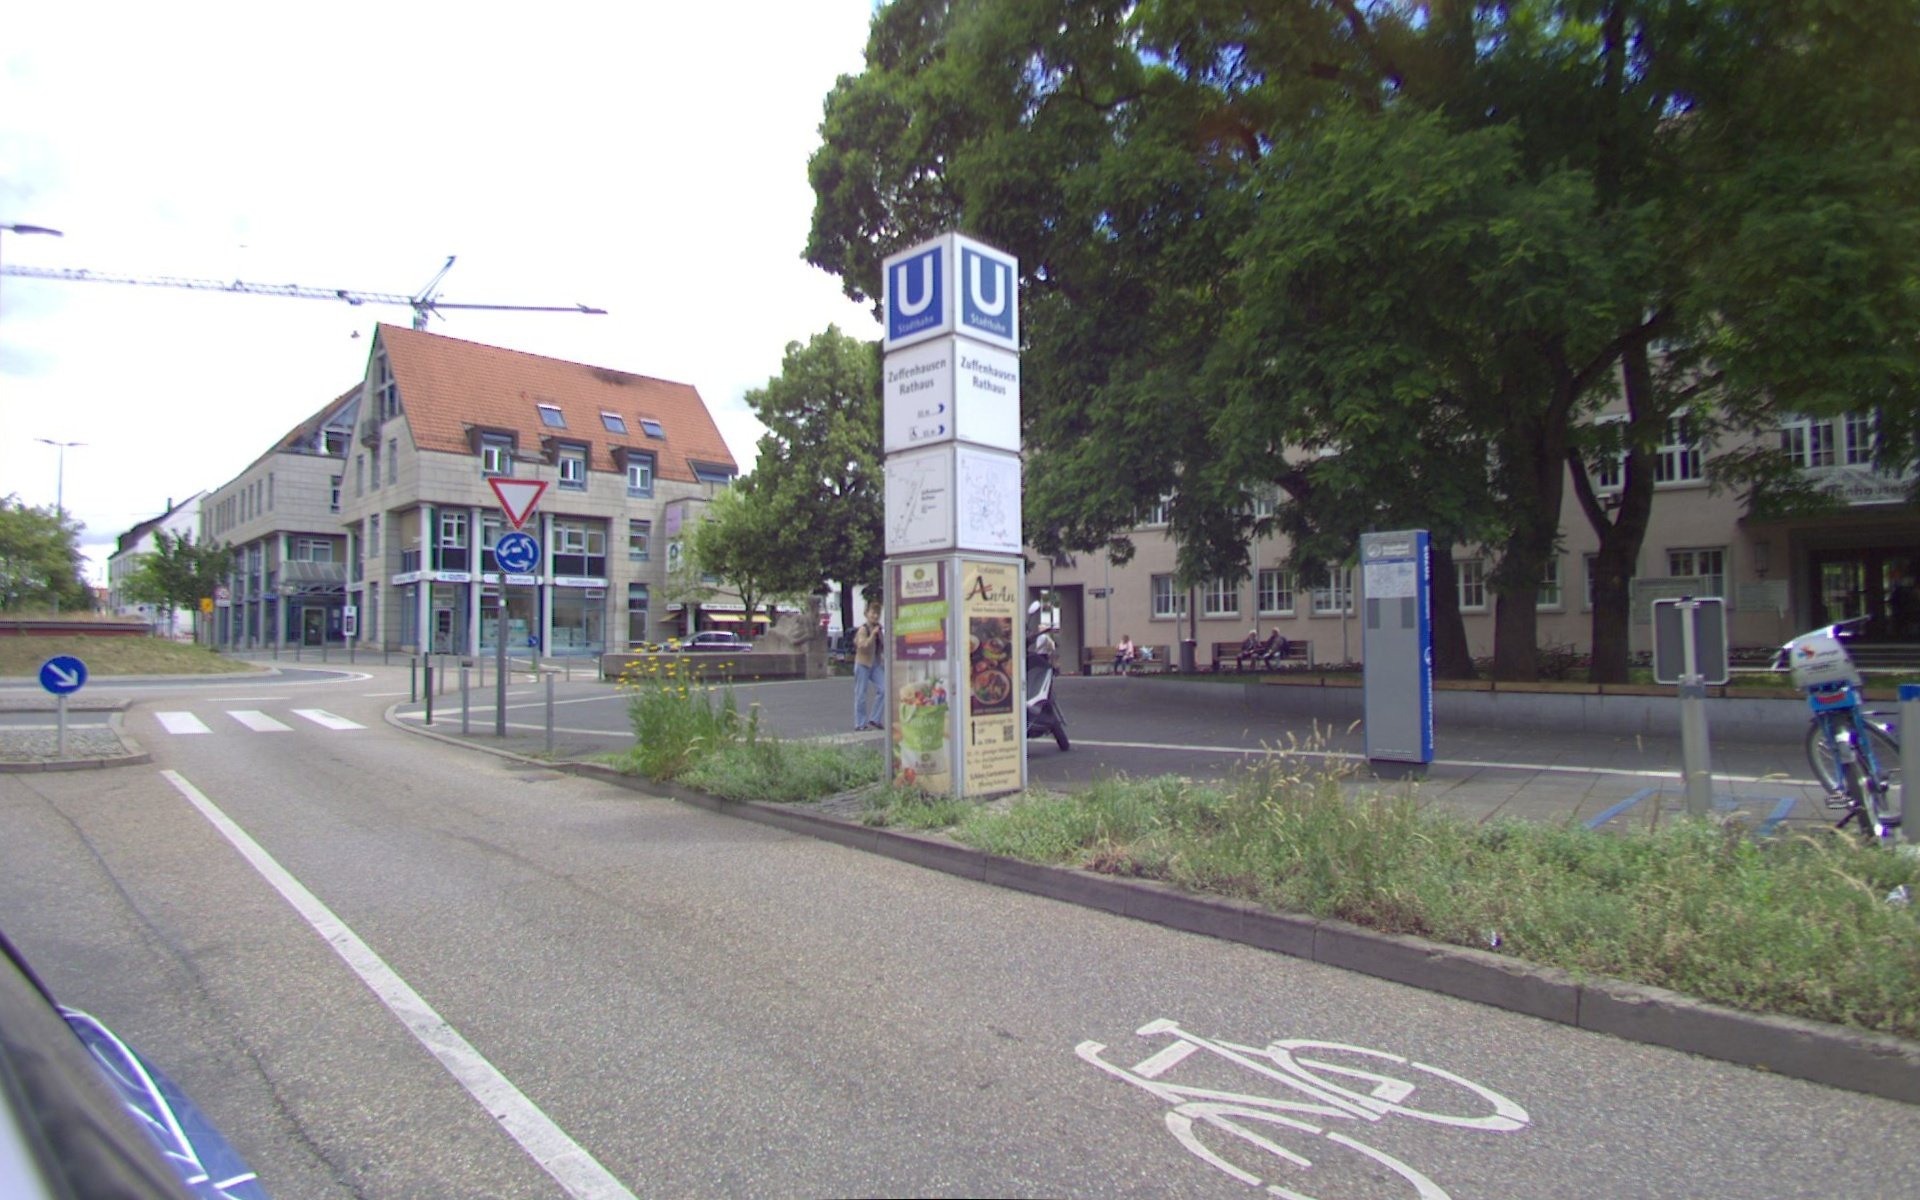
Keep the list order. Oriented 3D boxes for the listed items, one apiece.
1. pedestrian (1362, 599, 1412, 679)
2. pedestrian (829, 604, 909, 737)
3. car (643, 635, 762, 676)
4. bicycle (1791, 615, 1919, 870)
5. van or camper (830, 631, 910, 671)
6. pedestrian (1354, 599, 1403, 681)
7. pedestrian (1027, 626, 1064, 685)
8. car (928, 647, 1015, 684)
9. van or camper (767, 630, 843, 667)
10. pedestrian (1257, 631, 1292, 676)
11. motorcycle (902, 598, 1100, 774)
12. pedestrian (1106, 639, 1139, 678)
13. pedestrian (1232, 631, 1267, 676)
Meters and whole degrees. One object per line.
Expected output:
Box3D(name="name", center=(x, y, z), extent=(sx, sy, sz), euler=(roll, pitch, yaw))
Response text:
Box3D(name="pedestrian", center=(10.154, 0.930, 24.078), extent=(0.877, 1.864, 0.653), euler=(-4, -4, 42))
Box3D(name="pedestrian", center=(-1.170, 0.892, 12.996), extent=(0.652, 1.641, 0.801), euler=(1, -4, -41))
Box3D(name="car", center=(-11.433, 2.443, 45.120), extent=(4.810, 1.666, 1.751), euler=(1, -1, -34))
Box3D(name="bicycle", center=(4.574, 0.644, 5.055), extent=(0.514, 1.090, 1.670), euler=(-4, -4, 36))
Box3D(name="van or camper", center=(-5.619, 3.168, 63.407), extent=(4.635, 2.401, 1.989), euler=(-1, -2, 17))
Box3D(name="pedestrian", center=(9.719, 0.922, 23.519), extent=(0.829, 1.864, 0.653), euler=(-4, -4, 42))
Box3D(name="pedestrian", center=(2.524, 1.635, 29.877), extent=(0.816, 1.688, 0.682), euler=(-3, -3, 38))
Box3D(name="car", center=(0.564, 3.075, 47.998), extent=(4.013, 1.551, 1.749), euler=(1, -1, -42))
Box3D(name="van or camper", center=(-10.349, 3.213, 67.745), extent=(4.635, 2.401, 1.989), euler=(-1, -2, 17))
Box3D(name="pedestrian", center=(8.788, 1.486, 28.285), extent=(0.689, 1.236, 0.807), euler=(-3, -3, 36))
Box3D(name="motorcycle", center=(0.450, 0.756, 9.461), extent=(0.648, 1.461, 2.167), euler=(0, -2, 40))
Box3D(name="pedestrian", center=(5.014, 1.805, 31.152), extent=(0.689, 1.184, 0.807), euler=(-3, -3, 36))
Box3D(name="pedestrian", center=(8.216, 1.521, 28.738), extent=(0.689, 1.236, 0.807), euler=(-3, -3, 36))
